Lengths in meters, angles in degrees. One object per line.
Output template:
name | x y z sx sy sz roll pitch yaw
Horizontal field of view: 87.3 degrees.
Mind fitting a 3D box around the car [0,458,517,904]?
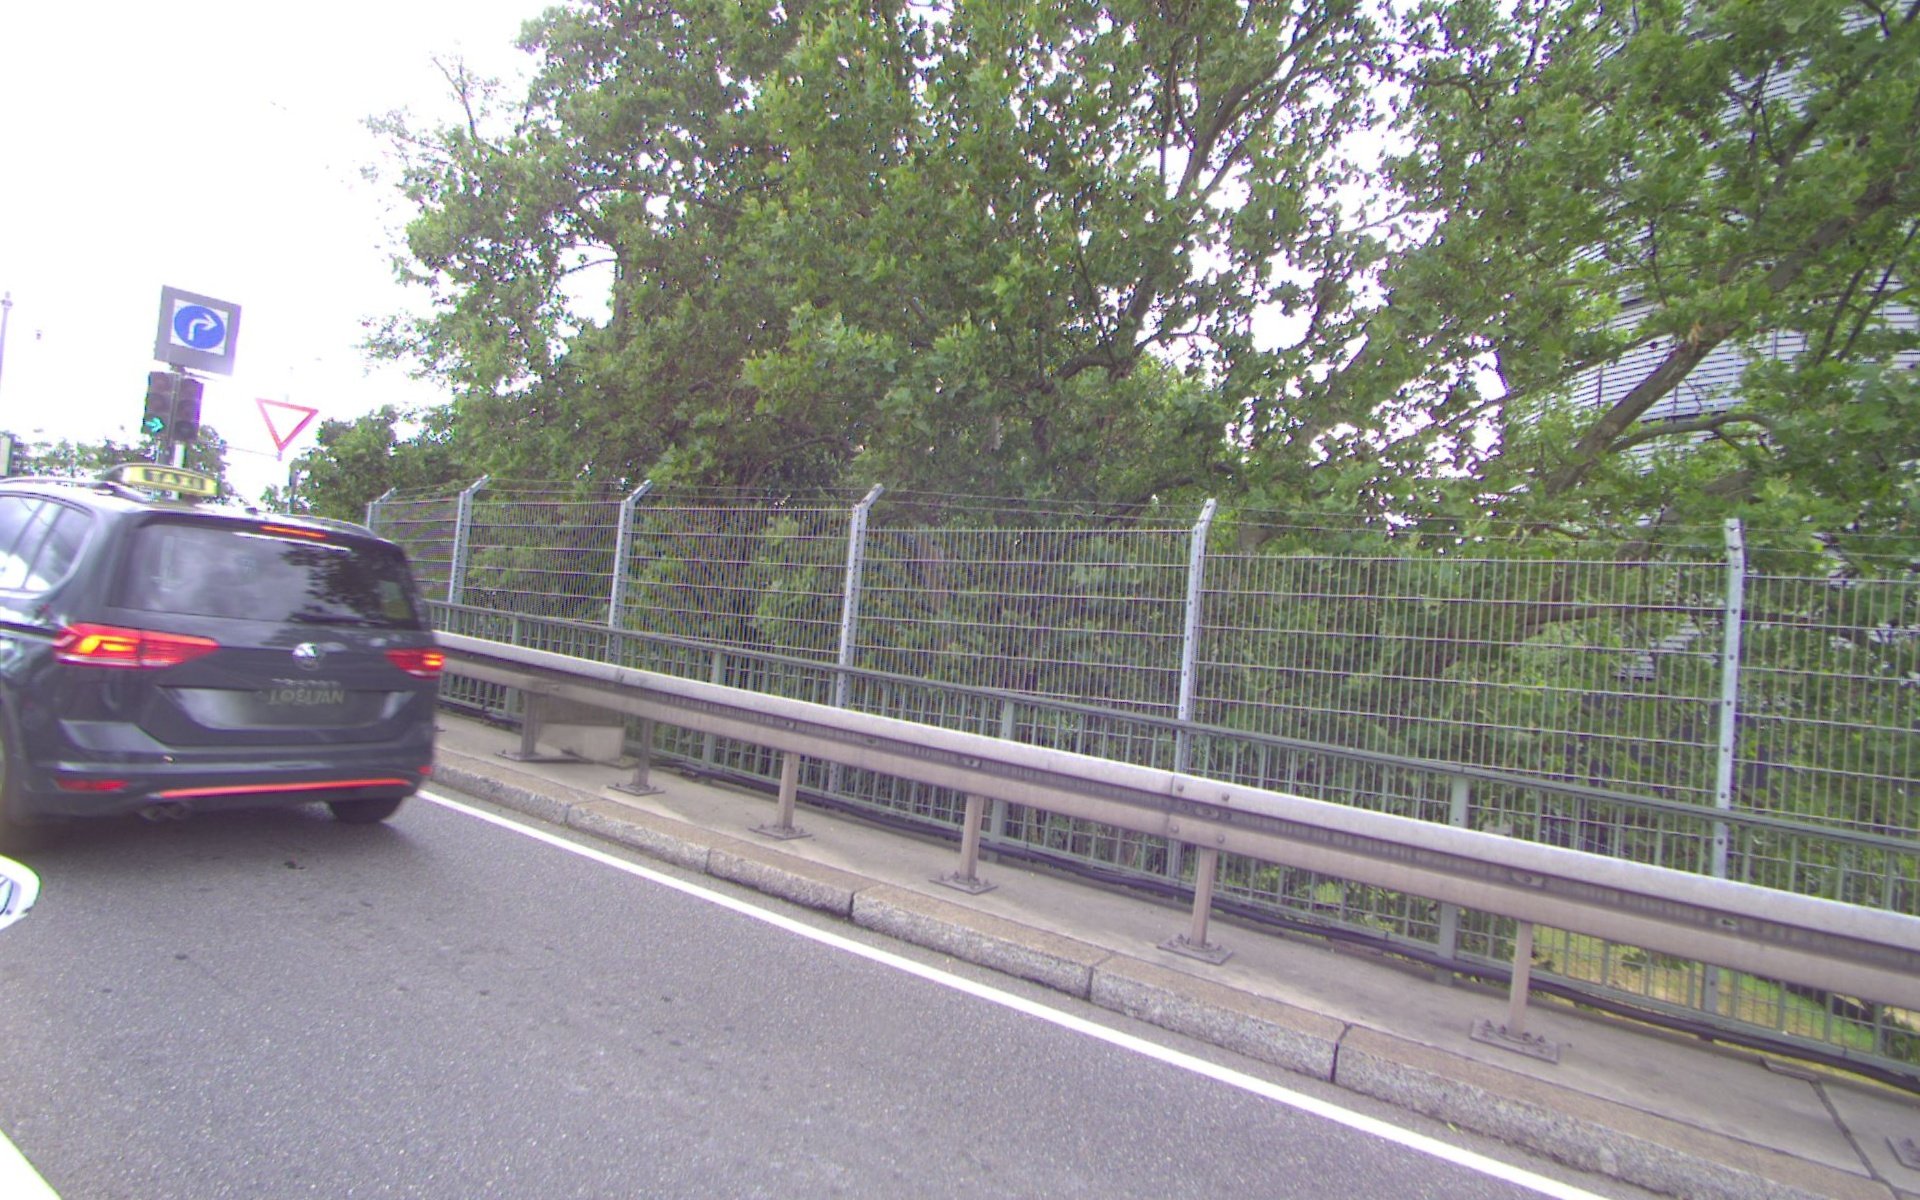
car | -4.648 0.213 5.614 4.081 1.672 1.800 6 -2 31
